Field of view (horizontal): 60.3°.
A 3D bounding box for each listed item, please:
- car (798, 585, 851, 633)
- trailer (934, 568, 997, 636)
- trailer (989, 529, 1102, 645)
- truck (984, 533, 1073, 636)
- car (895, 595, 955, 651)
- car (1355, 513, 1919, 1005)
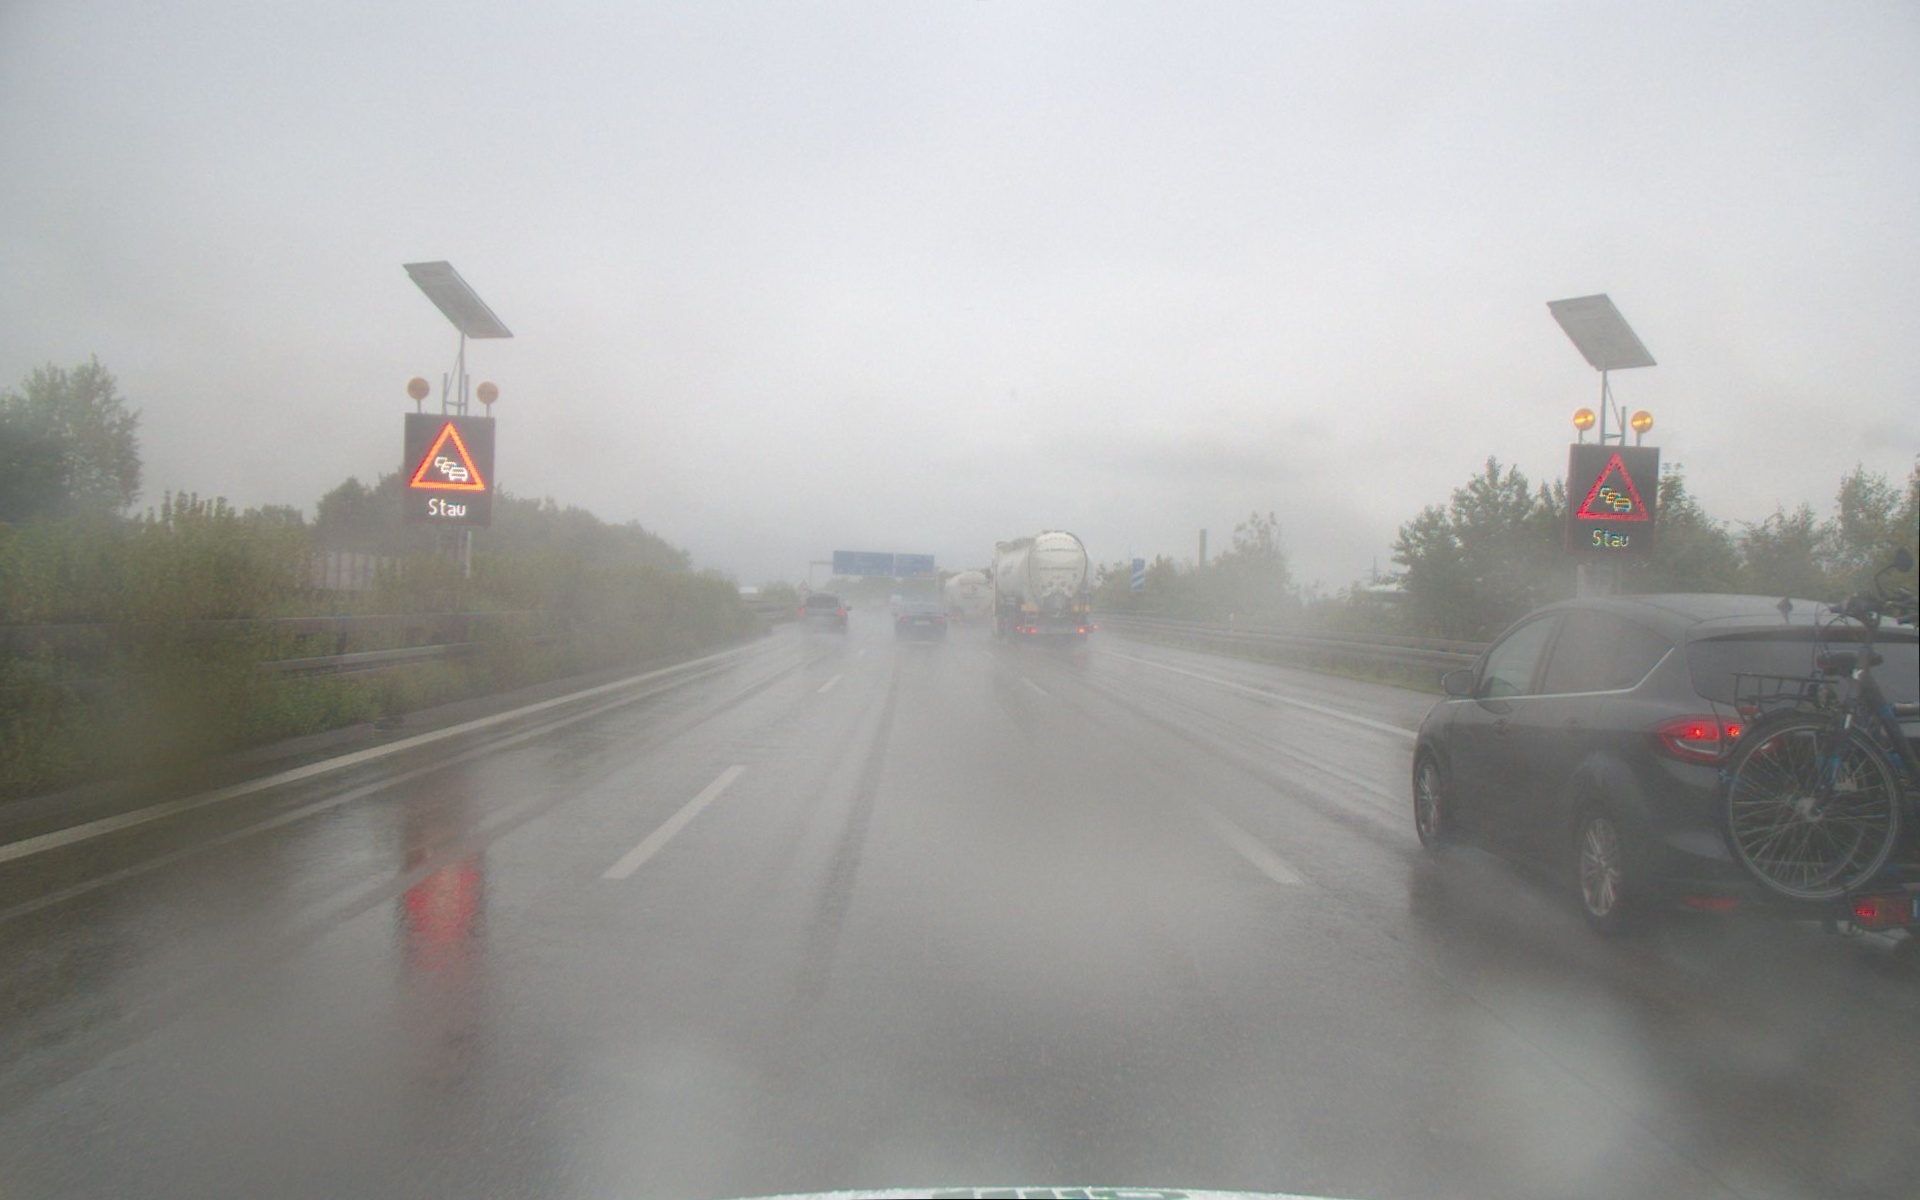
[{"bbox_3d":[-5.275,0.342,64.918,1.886,1.771,4.401,1,0,-3],"label":"car"},{"bbox_3d":[0.249,0.071,101.536,2.946,3.915,8.613,2,0,-6],"label":"trailer"},{"bbox_3d":[2.882,-0.452,59.456,3.124,3.734,11.663,1,0,-1],"label":"trailer"},{"bbox_3d":[2.670,-0.605,66.737,3.042,3.873,7.210,1,0,-2],"label":"truck"},{"bbox_3d":[-1.134,0.743,55.972,1.938,1.787,4.481,1,0,0],"label":"car"},{"bbox_3d":[3.987,0.586,8.872,2.407,1.776,5.719,1,0,0],"label":"car"}]
